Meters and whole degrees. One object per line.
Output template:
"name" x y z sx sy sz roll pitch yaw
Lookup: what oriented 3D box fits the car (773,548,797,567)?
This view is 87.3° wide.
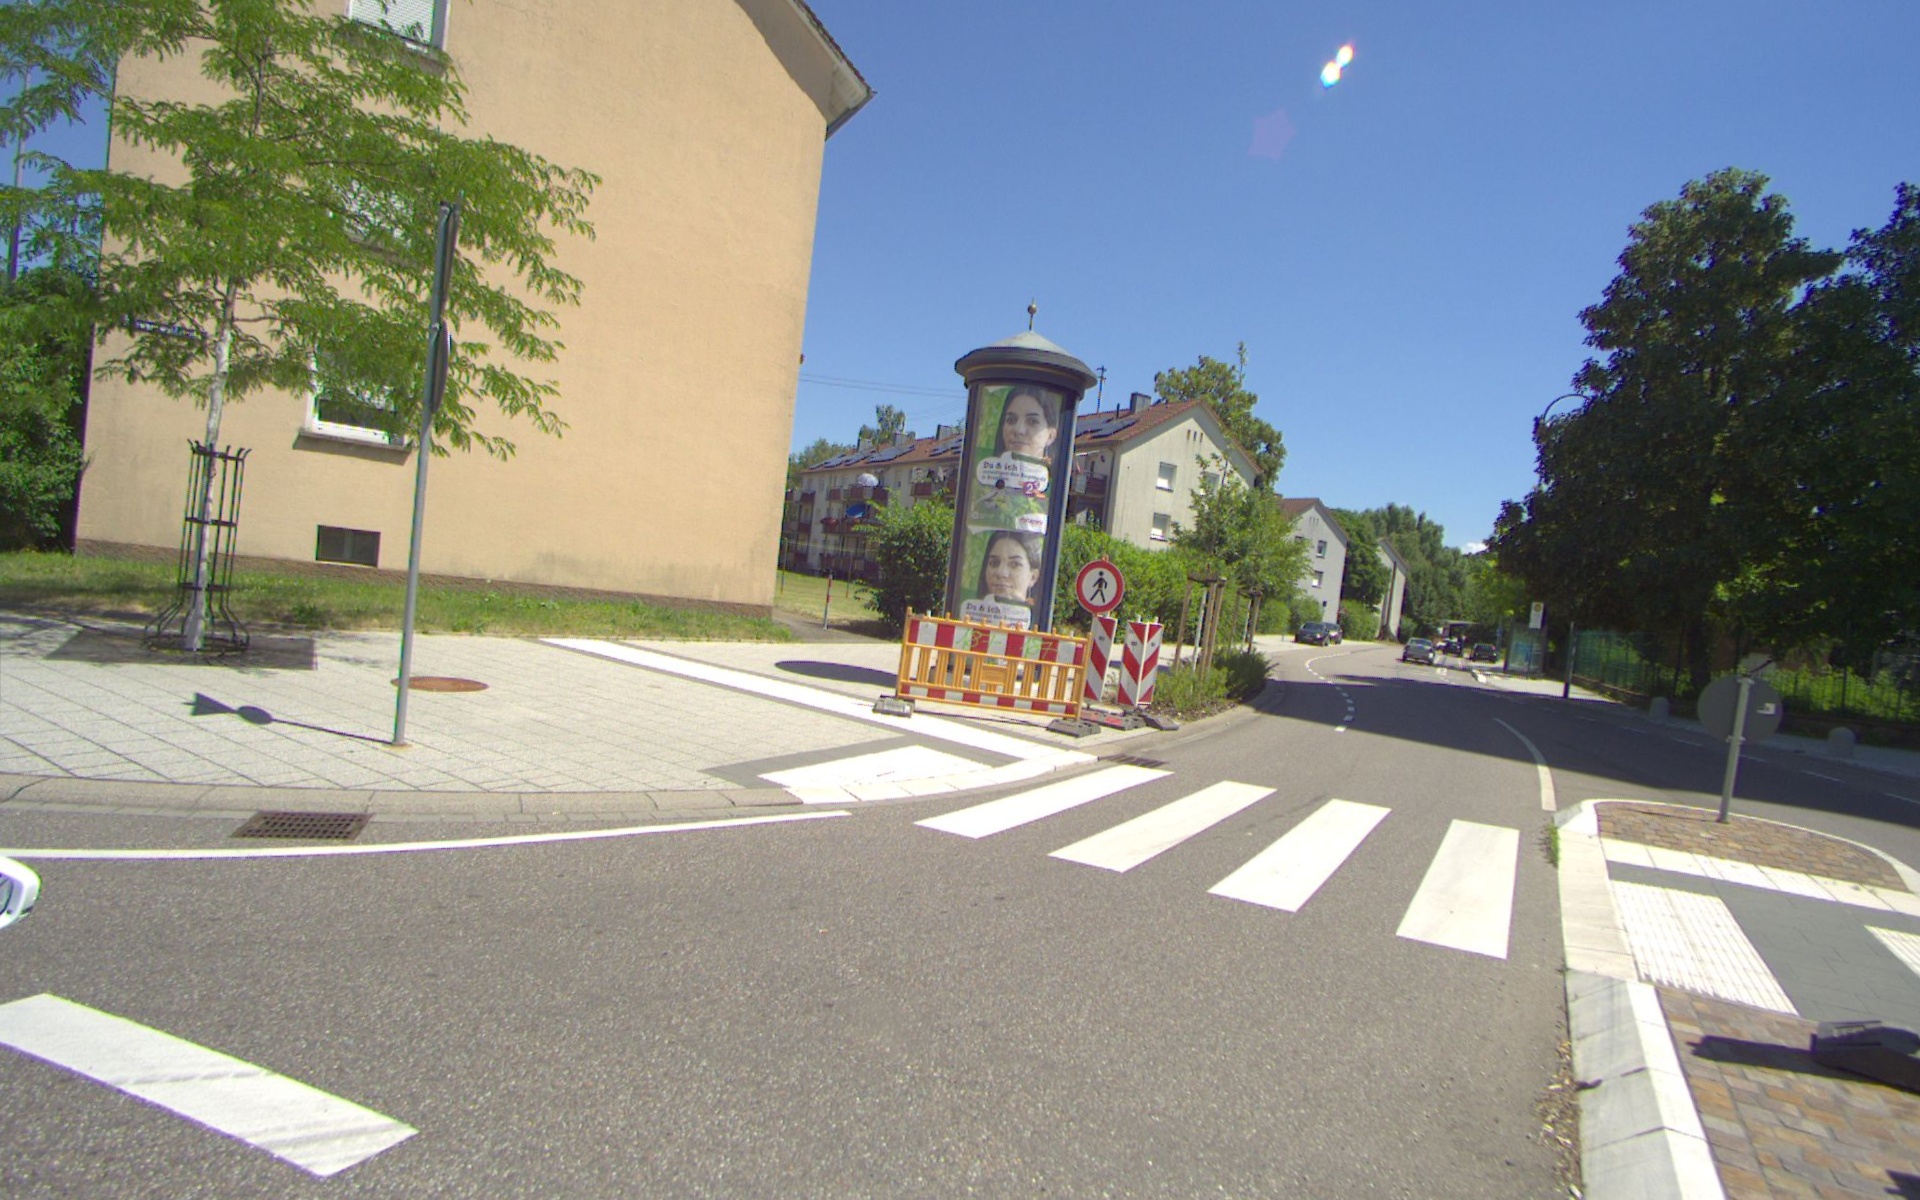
"car" -15.430 -3.776 88.623 1.716 1.455 3.698 5 1 -14

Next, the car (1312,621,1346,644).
"car" 27.030 2.392 73.696 1.714 1.455 3.702 6 1 28

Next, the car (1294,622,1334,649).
"car" 22.102 2.179 62.759 1.714 1.455 3.702 6 1 28

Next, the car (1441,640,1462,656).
"car" 49.883 4.851 102.048 1.714 1.455 3.703 6 1 27

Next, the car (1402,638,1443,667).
"car" 26.807 3.005 58.237 1.714 1.455 3.701 6 1 29

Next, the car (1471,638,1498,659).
"car" 41.814 3.859 80.252 1.714 1.455 3.703 6 1 28
